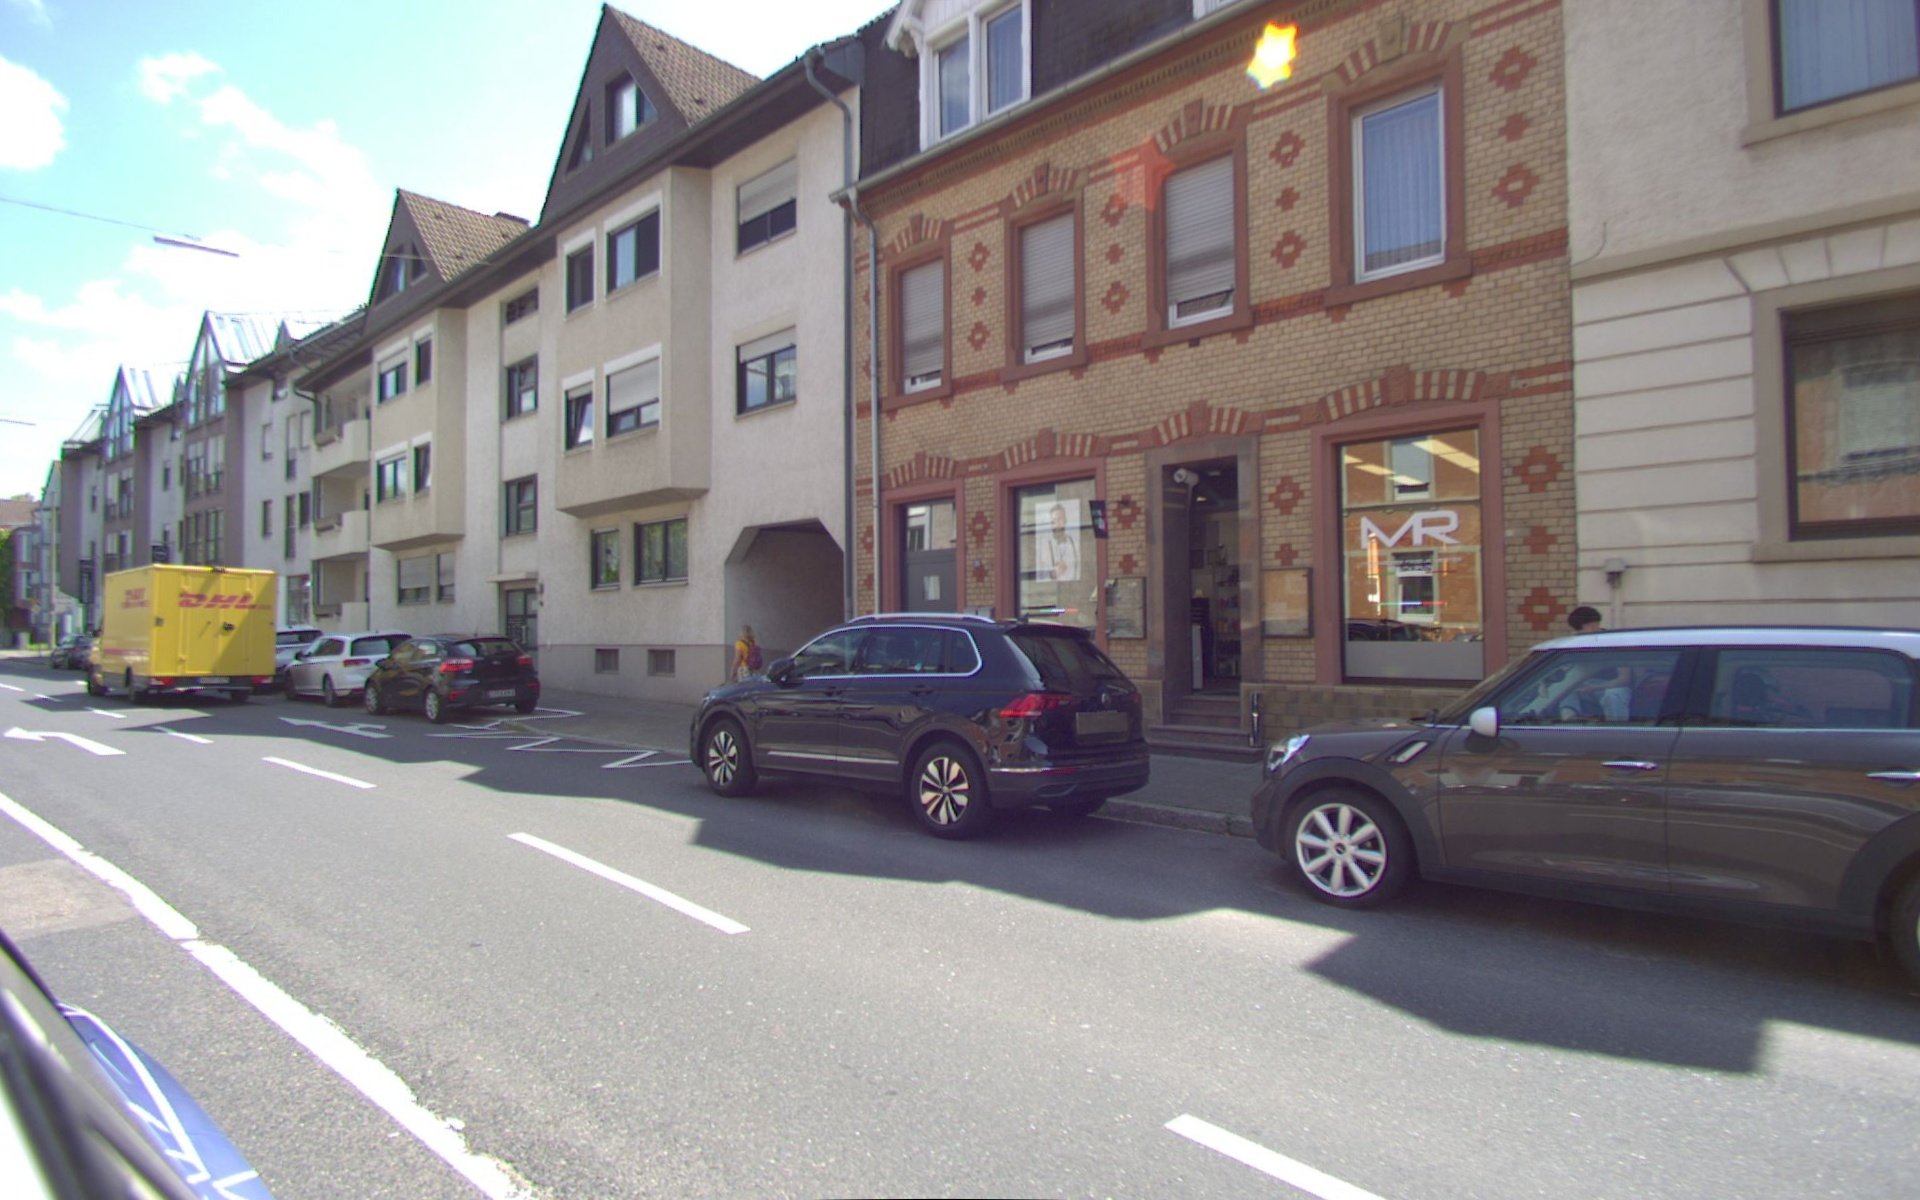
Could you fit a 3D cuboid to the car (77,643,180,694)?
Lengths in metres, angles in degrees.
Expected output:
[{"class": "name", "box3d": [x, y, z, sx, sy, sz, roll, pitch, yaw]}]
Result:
[{"class": "car", "box3d": [-27.952, 2.242, 33.996, 4.381, 1.500, 1.822, -2, -1, 39]}]

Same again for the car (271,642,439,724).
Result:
[{"class": "car", "box3d": [-12.966, 1.681, 21.581, 4.384, 1.499, 1.820, -2, -1, 41]}]

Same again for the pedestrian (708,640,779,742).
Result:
[{"class": "pedestrian", "box3d": [-3.331, 1.373, 15.560, 0.971, 1.506, 0.601, -2, -2, 42]}]

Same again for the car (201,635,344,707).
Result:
[{"class": "car", "box3d": [-17.372, 1.721, 25.487, 4.382, 1.608, 1.821, -2, -1, 39]}]

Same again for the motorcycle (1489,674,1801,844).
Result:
[{"class": "motorcycle", "box3d": [5.193, 1.137, 7.751, 1.871, 1.087, 0.836, -2, -4, 42]}]

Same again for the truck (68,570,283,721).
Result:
[{"class": "truck", "box3d": [-17.325, 1.013, 22.135, 7.560, 2.792, 2.202, -2, -5, 41]}]

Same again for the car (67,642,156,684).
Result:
[{"class": "car", "box3d": [-31.673, 2.295, 37.719, 4.323, 1.394, 1.821, -2, -1, 40]}]

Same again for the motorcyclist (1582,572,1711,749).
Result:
[{"class": "motorcyclist", "box3d": [5.240, 0.453, 7.721, 0.711, 1.257, 0.711, -2, -4, 41]}]

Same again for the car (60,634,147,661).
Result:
[{"class": "car", "box3d": [-54.939, 3.027, 64.949, 1.730, 1.463, 3.950, -4, -1, 37]}]

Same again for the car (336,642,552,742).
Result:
[{"class": "car", "box3d": [-9.353, 1.540, 18.175, 4.498, 1.499, 1.821, -2, -1, 40]}]

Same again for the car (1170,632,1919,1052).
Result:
[{"class": "car", "box3d": [3.557, 1.035, 5.294, 4.500, 1.609, 1.820, -2, -6, 42]}]

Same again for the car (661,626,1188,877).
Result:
[{"class": "car", "box3d": [-0.500, 1.087, 8.716, 4.500, 1.609, 1.820, -2, -5, 42]}]

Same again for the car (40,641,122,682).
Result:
[{"class": "car", "box3d": [-35.628, 2.455, 40.985, 4.966, 1.458, 1.821, -2, -1, 41]}]
